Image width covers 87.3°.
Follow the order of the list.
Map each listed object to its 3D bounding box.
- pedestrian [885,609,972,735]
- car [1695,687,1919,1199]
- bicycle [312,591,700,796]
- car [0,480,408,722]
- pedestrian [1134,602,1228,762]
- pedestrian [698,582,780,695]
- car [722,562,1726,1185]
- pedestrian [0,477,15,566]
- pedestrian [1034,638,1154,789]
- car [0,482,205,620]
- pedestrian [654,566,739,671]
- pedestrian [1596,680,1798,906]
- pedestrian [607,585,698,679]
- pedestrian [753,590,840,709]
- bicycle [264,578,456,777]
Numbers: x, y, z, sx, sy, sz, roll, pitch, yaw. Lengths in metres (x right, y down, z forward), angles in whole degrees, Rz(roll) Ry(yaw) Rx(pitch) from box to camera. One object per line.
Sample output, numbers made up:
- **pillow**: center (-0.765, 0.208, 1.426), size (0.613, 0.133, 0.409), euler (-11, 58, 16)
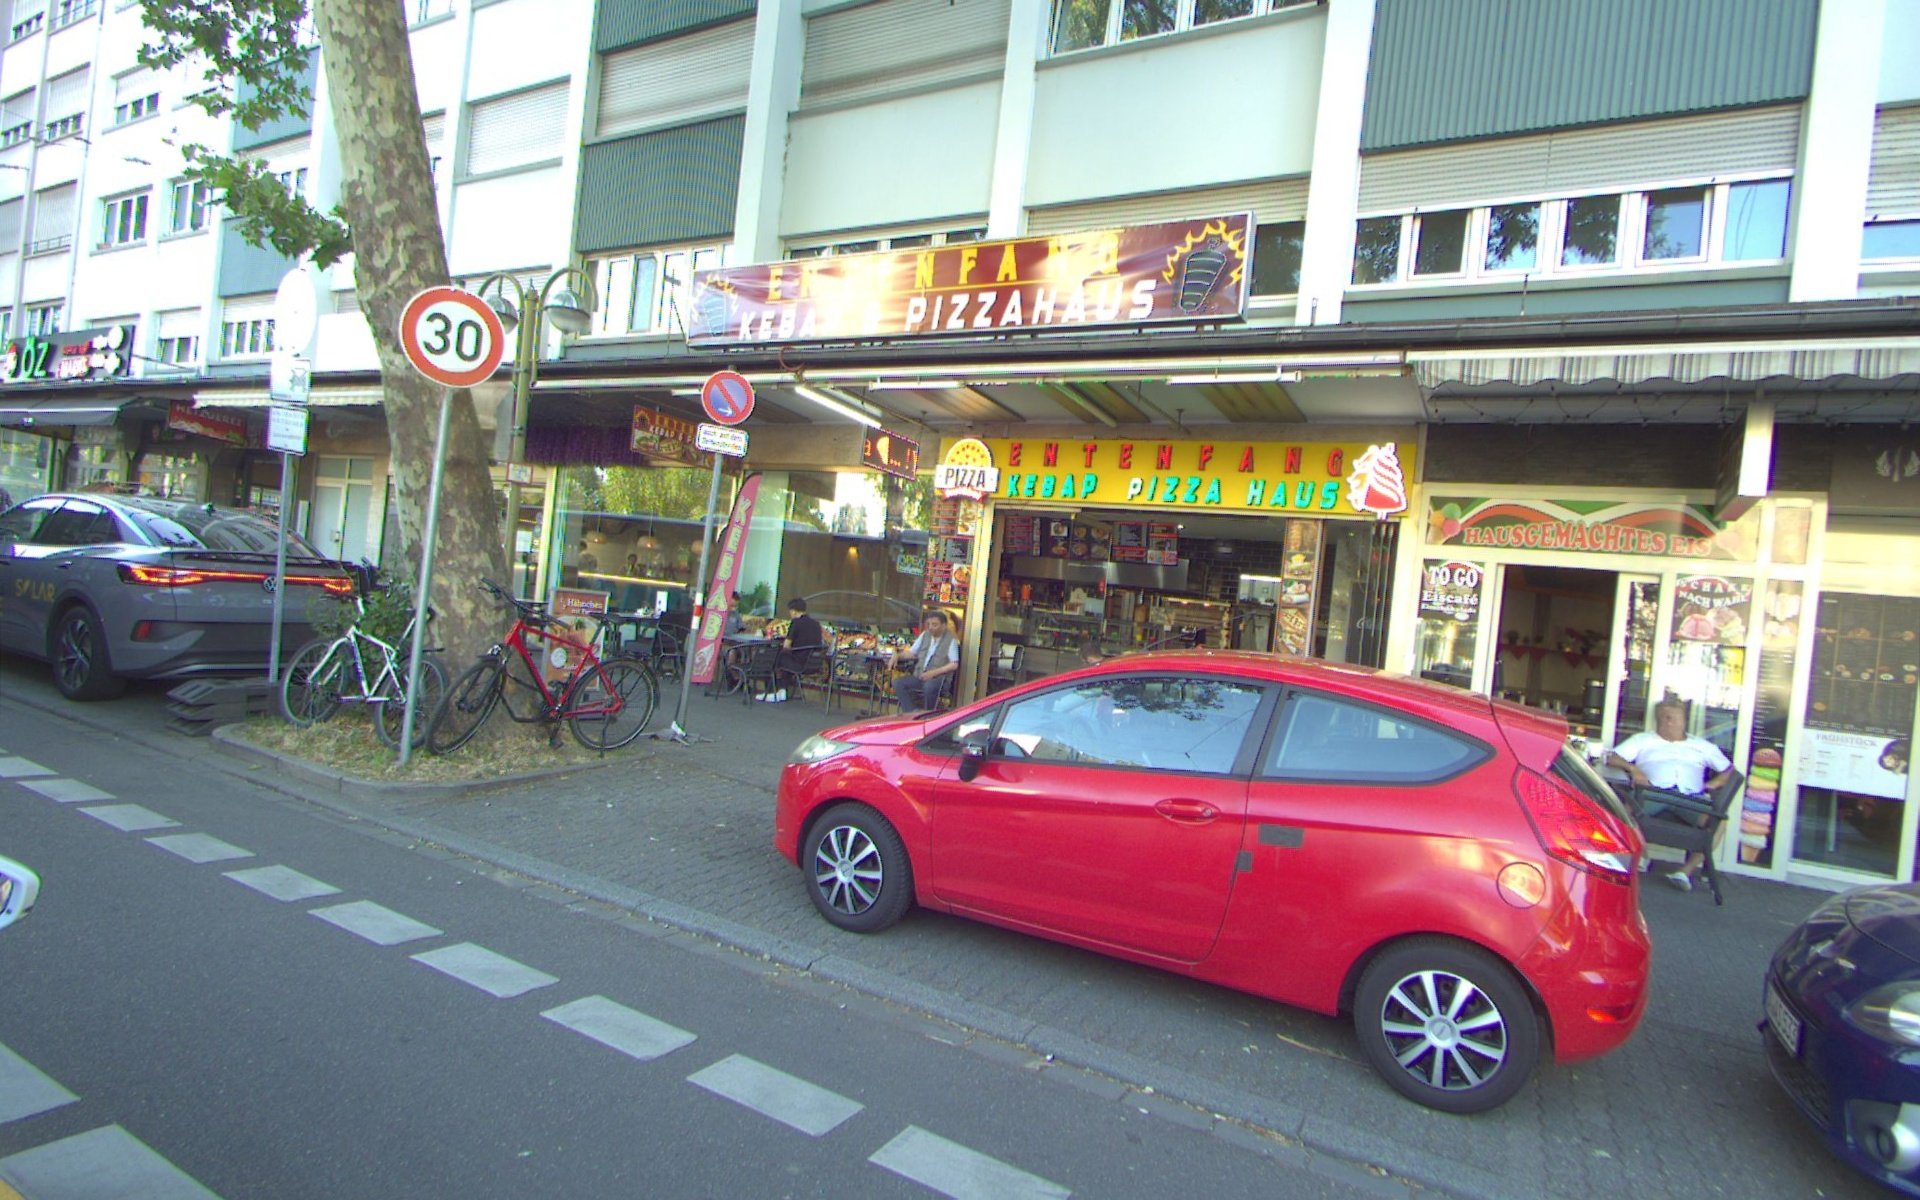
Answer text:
- **pedestrian**: center (-0.332, 0.757, 10.791), size (0.550, 1.252, 0.689), euler (7, 2, 29)
- **car**: center (4.363, 1.263, 2.670), size (3.549, 1.488, 1.767), euler (6, 3, 29)
- **bicycle**: center (-3.001, 0.561, 6.911), size (0.547, 1.171, 2.377), euler (7, 4, 44)
- **car**: center (-7.325, -0.118, 9.066), size (4.292, 1.603, 1.996), euler (7, 2, 27)
- **pedestrian**: center (2.322, 0.850, 10.536), size (0.589, 1.566, 0.700), euler (7, 0, 34)
- **pedestrian**: center (-2.659, 0.461, 12.103), size (0.680, 1.261, 0.557), euler (7, 2, 38)
- **car**: center (0.978, 0.822, 4.718), size (3.757, 1.617, 1.783), euler (6, 3, 28)
- **pedestrian**: center (-18.678, -1.531, 19.342), size (0.661, 1.688, 0.593), euler (4, 2, -42)
- **pedestrian**: center (1.228, 1.006, 9.177), size (0.798, 1.225, 0.654), euler (7, 2, 28)
- **car**: center (-12.963, -0.782, 14.172), size (4.292, 1.603, 1.996), euler (7, 2, 27)
- **pedestrian**: center (-3.746, 0.260, 14.378), size (0.958, 1.350, 0.830), euler (6, 0, -9)
- **pedestrian**: center (5.229, 1.314, 7.235), size (0.937, 1.352, 1.069), euler (7, 0, 30)
- **pedestrian**: center (-3.966, 0.404, 13.050), size (0.940, 1.094, 0.639), euler (7, 0, -9)
- **pedestrian**: center (-1.874, 0.565, 11.533), size (0.679, 1.261, 0.558), euler (7, 2, 33)
- **bicycle**: center (-4.223, 0.508, 7.050), size (1.421, 1.169, 0.553), euler (6, 0, 36)
